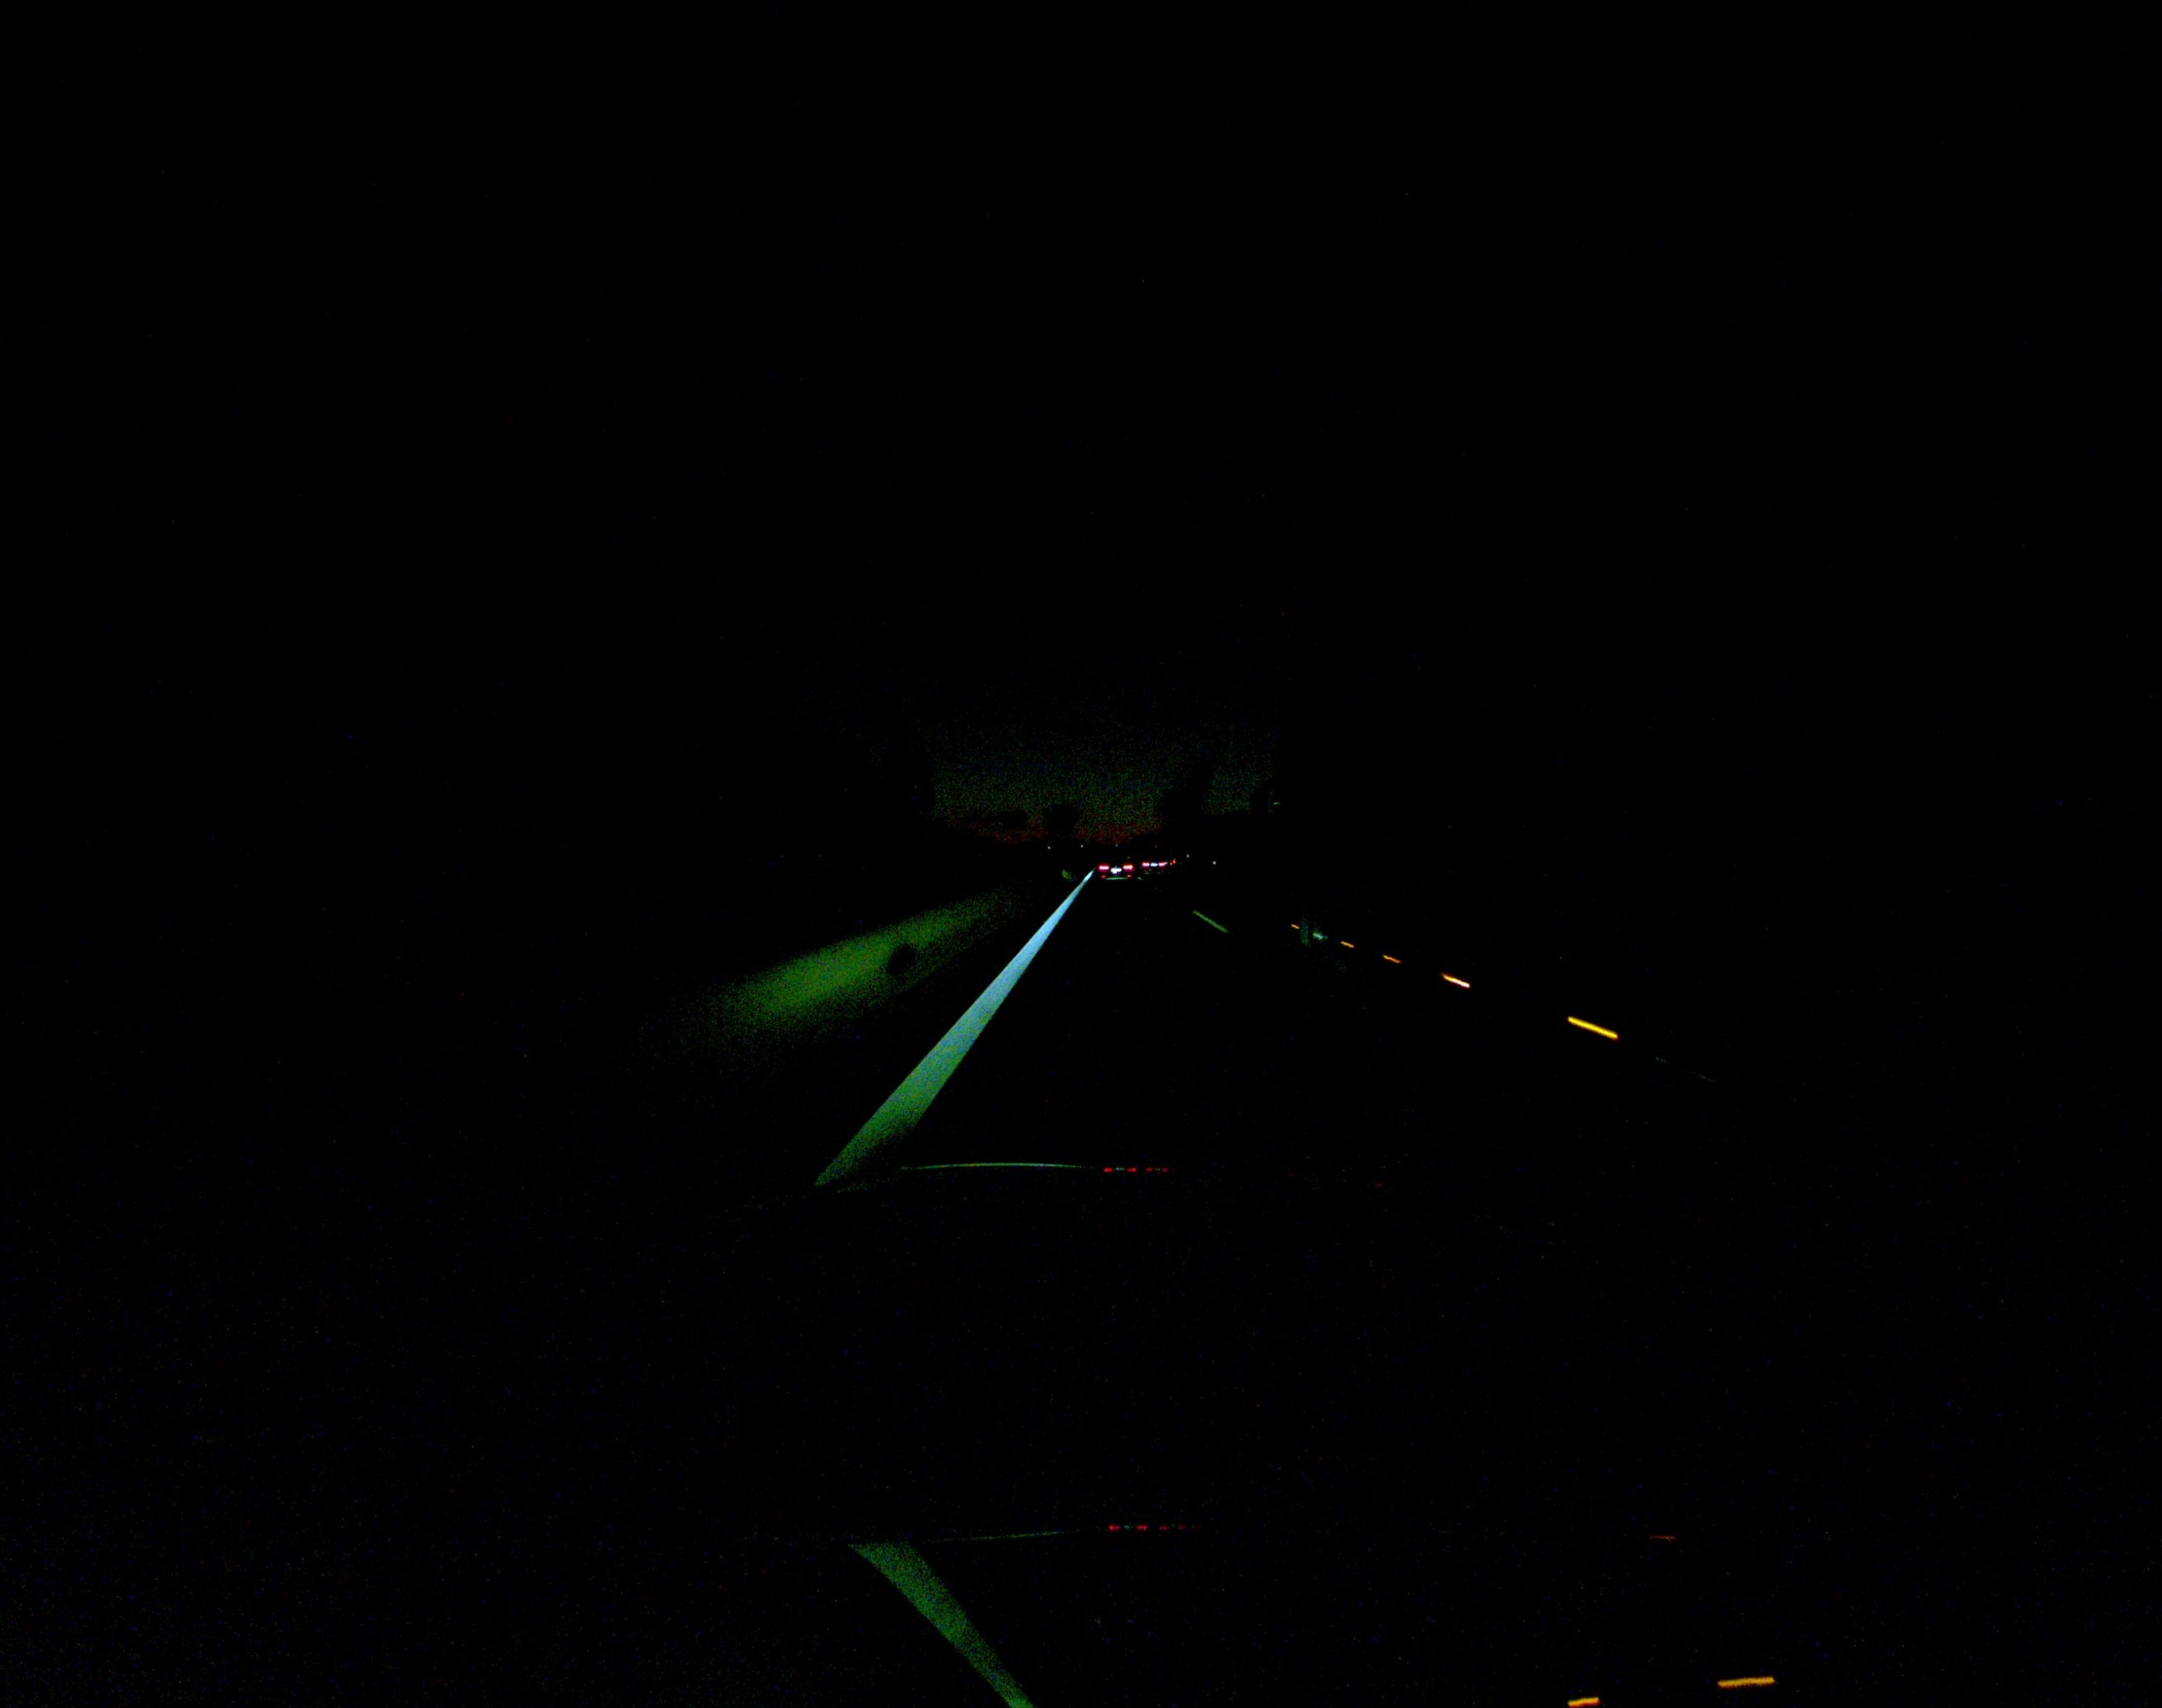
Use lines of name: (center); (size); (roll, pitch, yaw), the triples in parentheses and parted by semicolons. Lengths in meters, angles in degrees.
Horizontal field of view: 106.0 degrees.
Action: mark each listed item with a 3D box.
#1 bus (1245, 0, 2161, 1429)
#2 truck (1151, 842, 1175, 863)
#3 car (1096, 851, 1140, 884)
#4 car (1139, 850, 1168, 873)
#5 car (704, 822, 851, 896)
bus: (3.995, -0.616, 6.748); (2.642, 3.994, 14.705); (0, 0, 1)
truck: (11.475, -0.203, 114.236); (2.594, 2.875, 7.486); (1, 0, 1)
car: (1.883, 0.669, 42.489); (2.099, 1.618, 4.204); (0, 0, 0)
car: (5.614, 0.550, 63.296); (1.905, 1.730, 3.999); (0, 0, 0)
car: (-7.696, 0.084, 21.258); (1.986, 1.635, 4.748); (2, 1, 0)
